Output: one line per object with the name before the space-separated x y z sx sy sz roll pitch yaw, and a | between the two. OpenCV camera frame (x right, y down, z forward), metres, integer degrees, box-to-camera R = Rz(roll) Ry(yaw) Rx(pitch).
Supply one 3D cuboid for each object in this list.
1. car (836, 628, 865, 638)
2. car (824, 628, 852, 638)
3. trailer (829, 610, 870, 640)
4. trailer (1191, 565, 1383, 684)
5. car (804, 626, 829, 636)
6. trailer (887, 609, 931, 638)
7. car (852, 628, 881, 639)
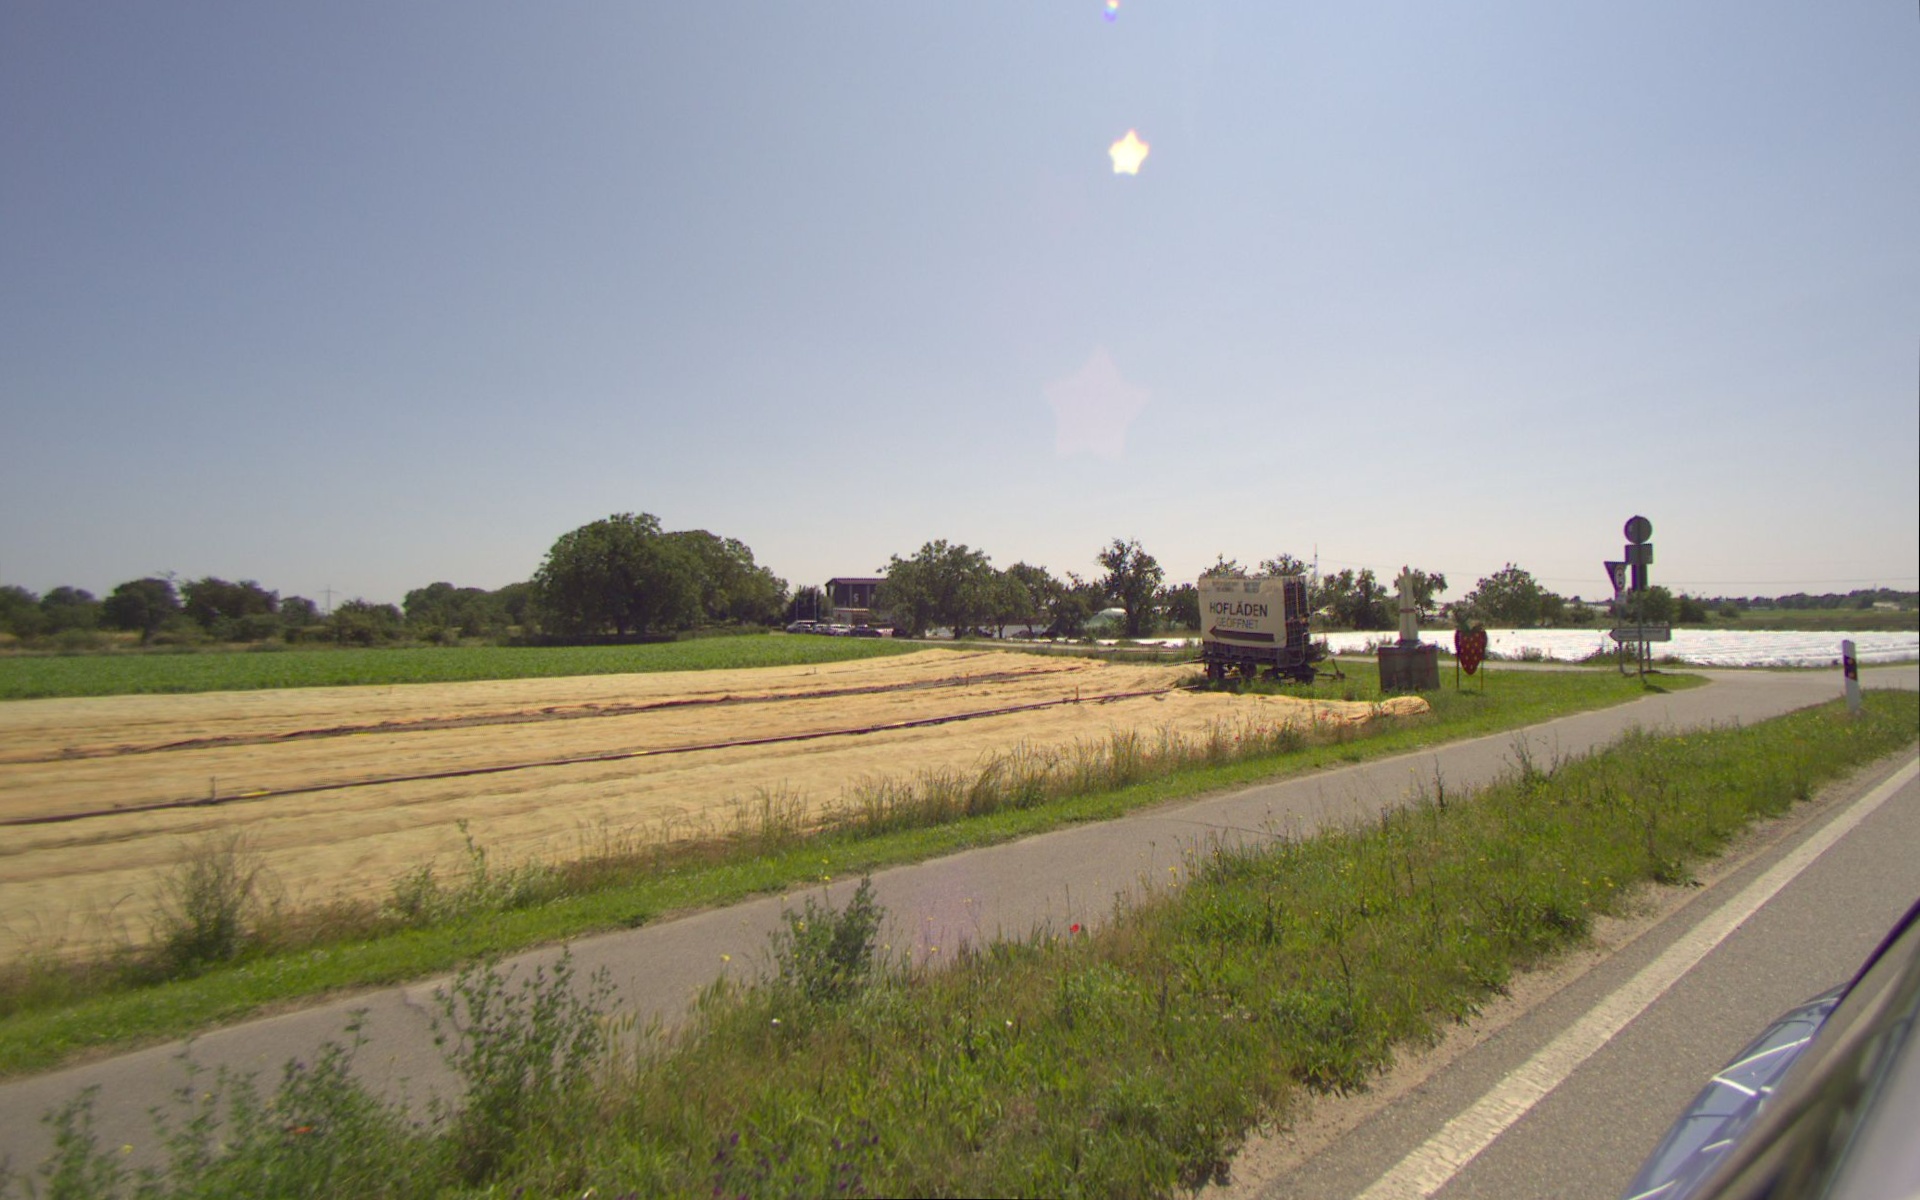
car | -13.398 4.064 123.904 3.213 1.213 1.297 0 -2 -29
car | -15.174 4.096 126.128 3.213 1.213 1.297 0 -2 -29
trailer | -16.384 3.698 149.669 3.096 4.276 7.442 -1 -2 -32
trailer | 8.997 0.630 28.463 1.959 2.989 5.303 -2 0 -25
car | -19.502 4.216 137.523 3.213 1.213 1.297 0 -2 -29
trailer | -6.296 2.900 123.429 3.191 3.336 7.453 -1 -2 -20
car | -11.153 4.021 121.191 3.213 1.213 1.297 0 -2 -29
